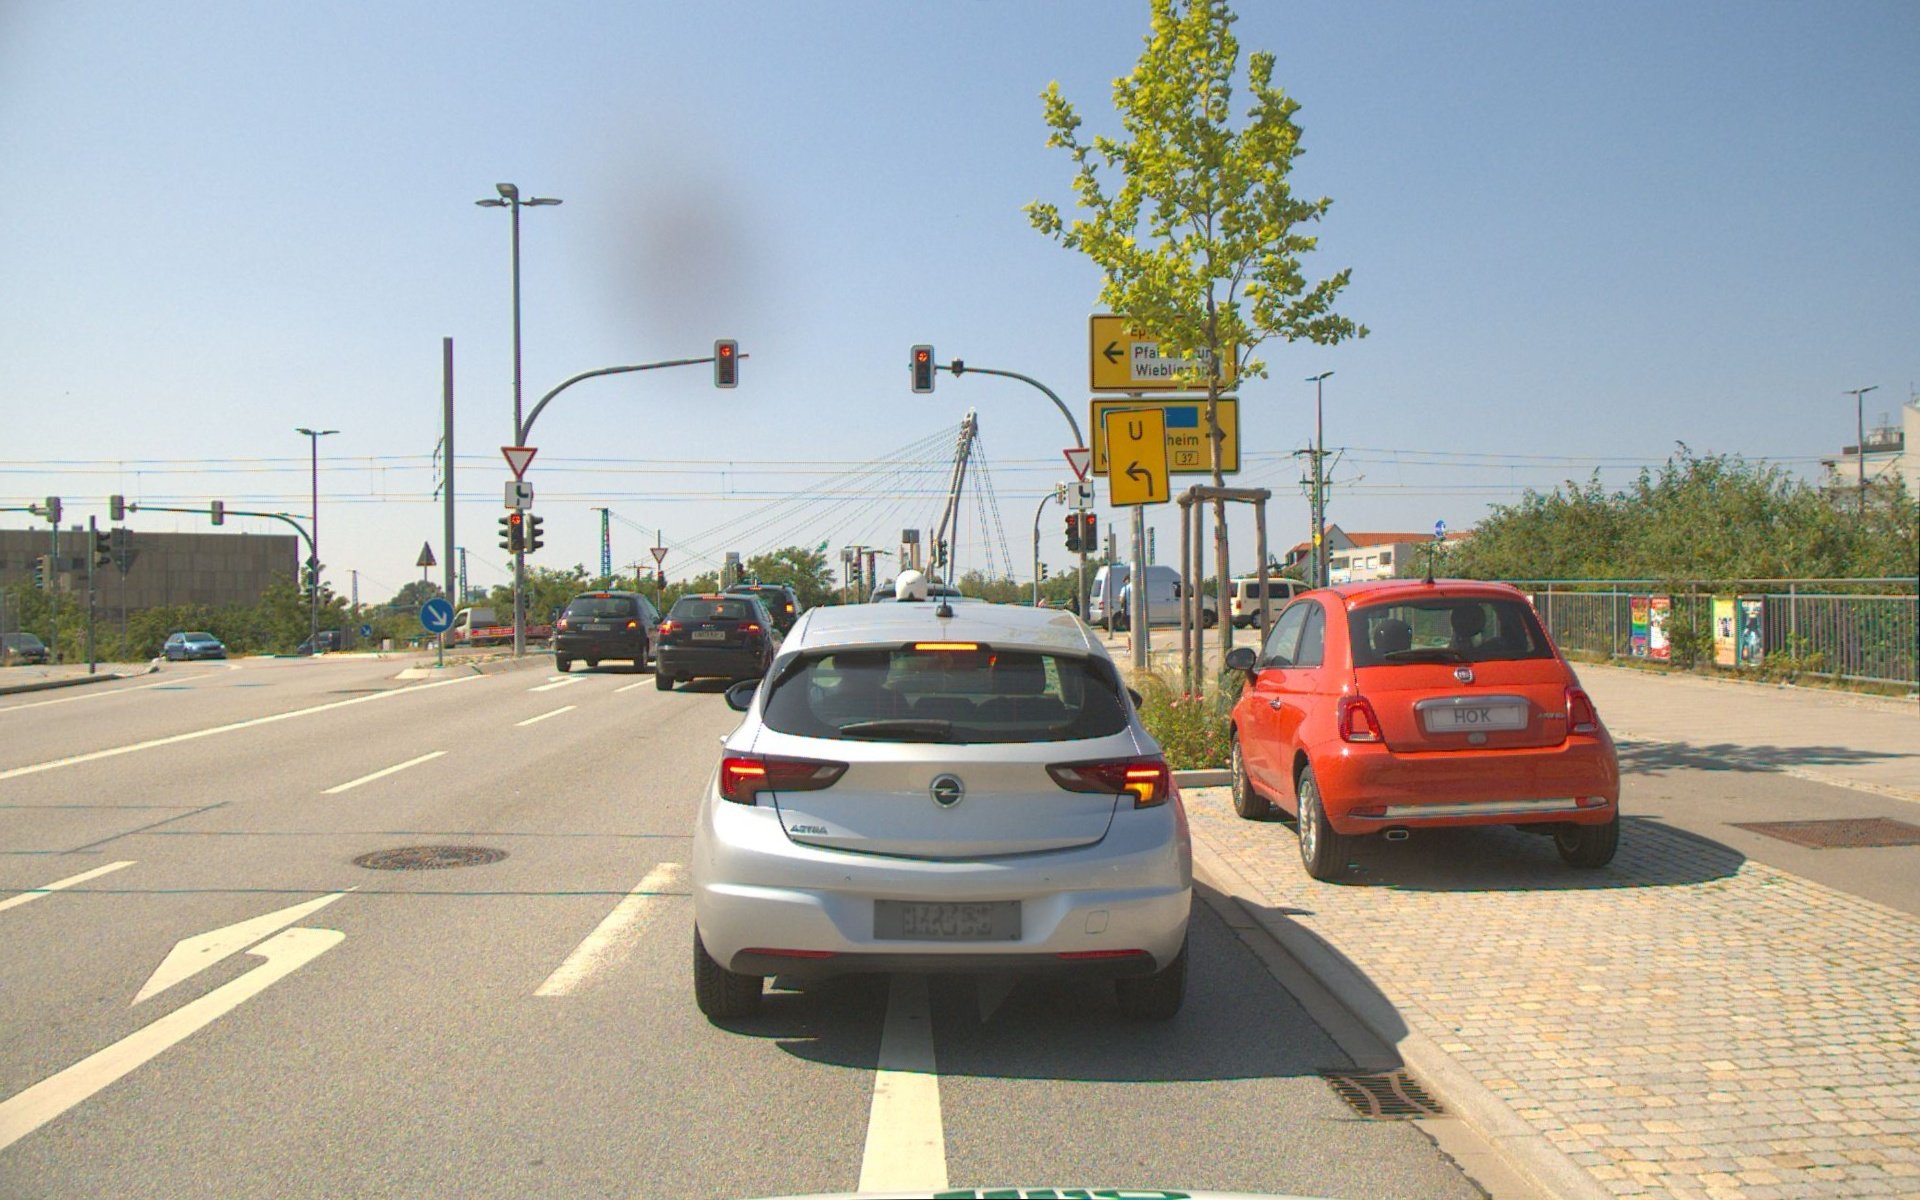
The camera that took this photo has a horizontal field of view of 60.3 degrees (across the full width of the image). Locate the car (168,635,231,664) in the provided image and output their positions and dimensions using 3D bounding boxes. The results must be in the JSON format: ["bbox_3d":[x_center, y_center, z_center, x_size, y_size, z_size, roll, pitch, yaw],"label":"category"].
[{"bbox_3d":[-36.770,2.388,79.934,1.806,1.354,3.941,1,-2,-40],"label":"car"}]

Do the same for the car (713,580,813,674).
[{"bbox_3d":[-3.699,0.491,31.570,1.616,1.643,3.818,1,0,-3],"label":"car"}]

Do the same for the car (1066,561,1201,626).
[{"bbox_3d":[6.638,-0.236,63.568,4.906,2.418,1.780,0,-1,-9],"label":"car"}]

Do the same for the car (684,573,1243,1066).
[{"bbox_3d":[-0.089,0.689,7.104,1.708,1.503,3.997,1,0,-3],"label":"car"}]

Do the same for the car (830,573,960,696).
[{"bbox_3d":[-0.880,0.426,23.921,1.689,1.591,4.000,1,1,-1],"label":"car"}]

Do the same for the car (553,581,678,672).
[{"bbox_3d":[-6.380,0.478,30.965,1.565,1.574,3.761,1,0,-1],"label":"car"}]

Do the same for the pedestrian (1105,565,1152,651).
[{"bbox_3d":[3.696,0.178,36.270,0.792,1.868,0.639,0,-1,-44],"label":"pedestrian"}]

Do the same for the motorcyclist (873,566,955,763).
[{"bbox_3d":[-0.340,0.470,12.294,0.570,1.413,0.706,1,-1,-1],"label":"motorcyclist"}]

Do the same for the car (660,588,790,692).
[{"bbox_3d":[-3.575,0.584,25.688,1.543,1.459,3.785,1,0,-2],"label":"car"}]

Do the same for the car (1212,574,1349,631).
[{"bbox_3d":[11.983,0.099,61.908,4.621,2.049,1.993,1,0,-13],"label":"car"}]

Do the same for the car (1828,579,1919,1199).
[{"bbox_3d":[2.936,0.638,1.926,1.627,1.451,3.999,-3,0,-1],"label":"car"}]

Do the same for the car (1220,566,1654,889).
[{"bbox_3d":[2.604,0.615,9.794,1.577,1.522,3.352,-2,0,0],"label":"car"}]

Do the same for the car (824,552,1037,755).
[{"bbox_3d":[-0.304,0.472,17.546,1.953,1.852,4.401,1,1,-1],"label":"car"}]

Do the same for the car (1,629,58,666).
[{"bbox_3d":[-41.157,2.072,73.101,1.662,1.502,3.358,-1,1,-39],"label":"car"}]
